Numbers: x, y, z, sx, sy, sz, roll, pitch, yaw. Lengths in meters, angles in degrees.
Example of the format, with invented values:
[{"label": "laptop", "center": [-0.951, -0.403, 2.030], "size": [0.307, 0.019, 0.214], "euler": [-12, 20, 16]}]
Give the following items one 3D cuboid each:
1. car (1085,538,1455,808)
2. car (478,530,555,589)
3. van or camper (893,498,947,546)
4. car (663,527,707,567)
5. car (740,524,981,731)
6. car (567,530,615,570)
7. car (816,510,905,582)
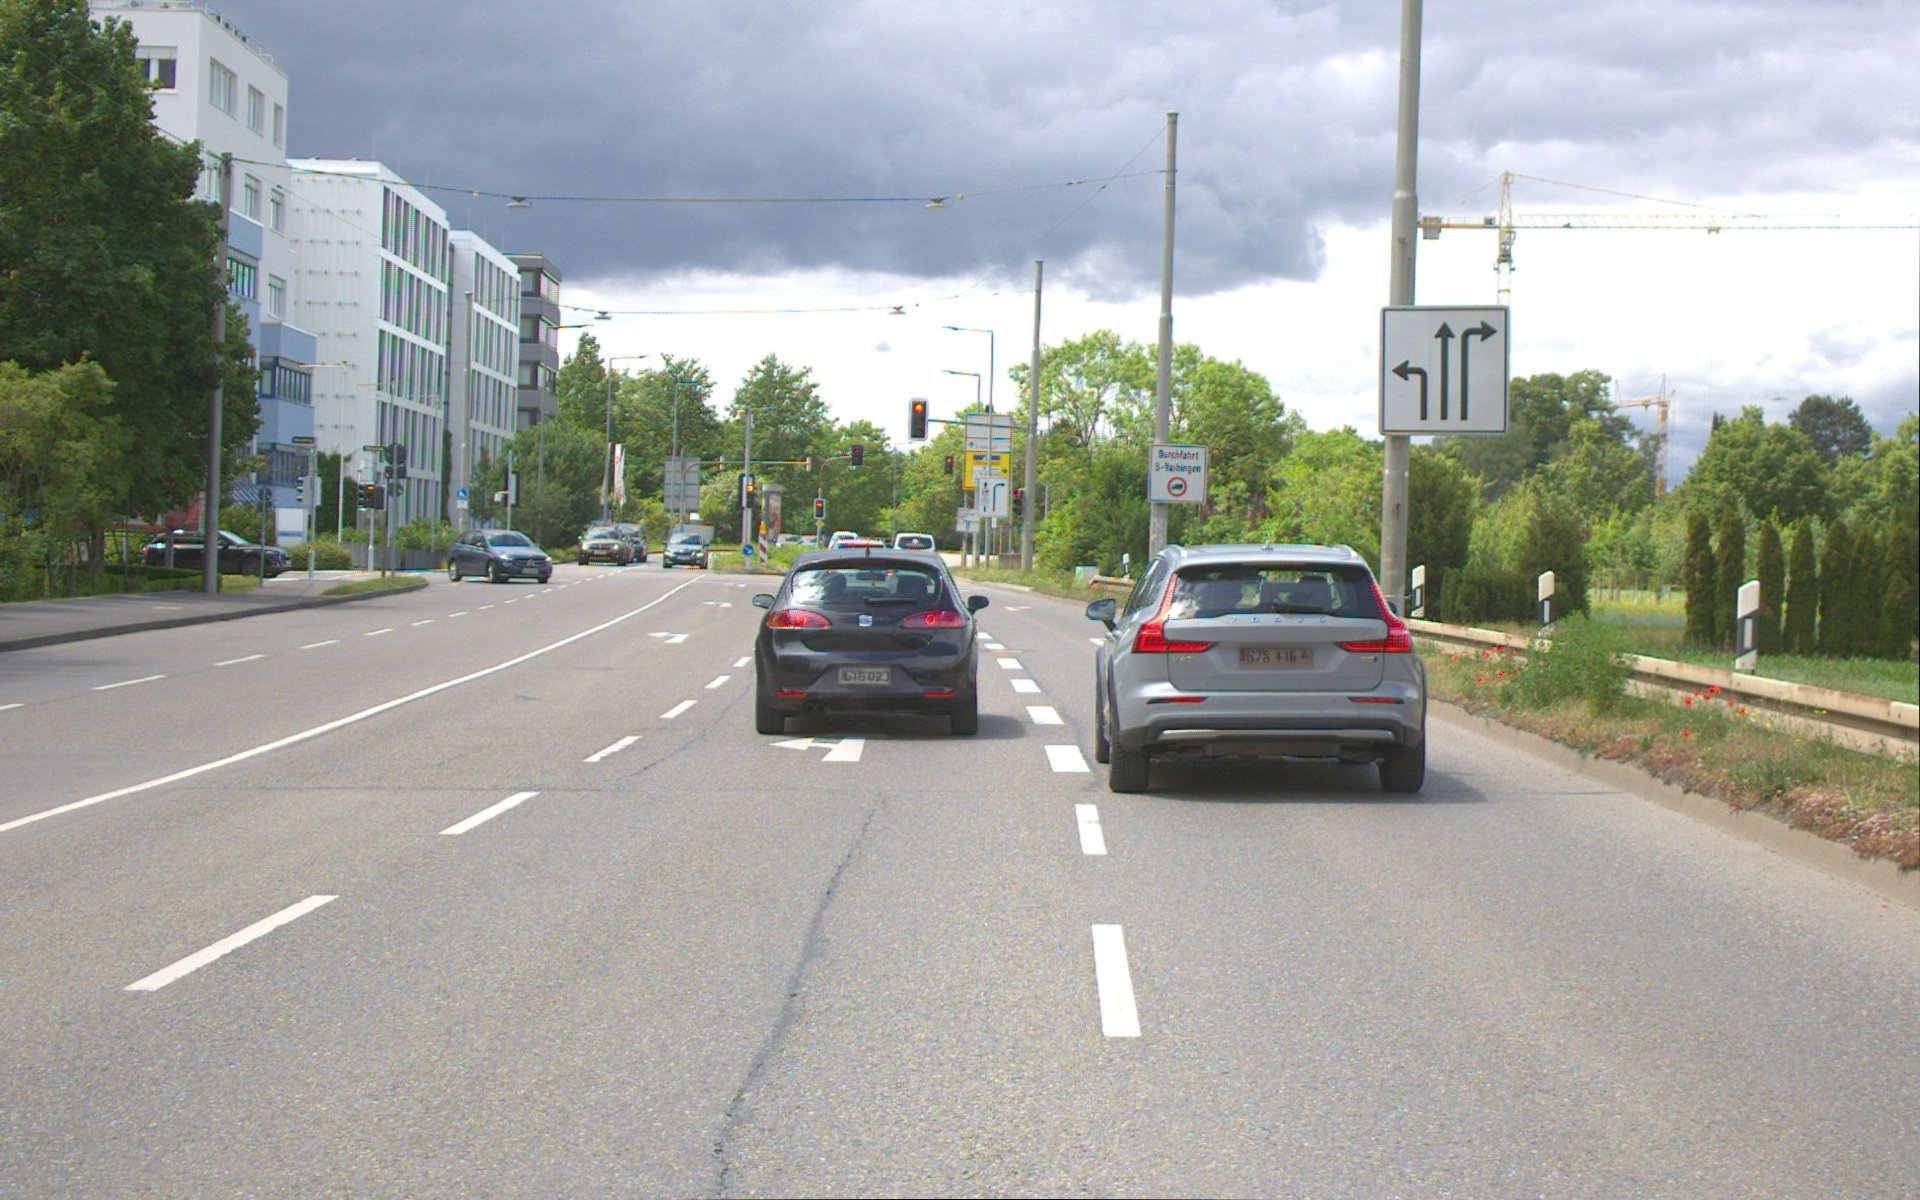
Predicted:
[{"label": "car", "center": [1.828, 0.389, 21.572], "size": [1.958, 1.520, 4.340], "euler": [0, 1, 0]}, {"label": "car", "center": [-13.058, -1.193, 101.372], "size": [1.796, 1.579, 4.314], "euler": [4, 0, -3]}, {"label": "van or camper", "center": [-1.777, -3.415, 151.161], "size": [1.899, 1.919, 4.001], "euler": [4, 0, -6]}, {"label": "car", "center": [-11.111, -2.160, 139.006], "size": [1.668, 1.519, 4.009], "euler": [0, 2, -3]}, {"label": "car", "center": [-0.735, 0.184, 27.844], "size": [1.748, 1.478, 4.000], "euler": [2, 1, 0]}, {"label": "car", "center": [-15.072, -2.058, 140.485], "size": [1.751, 1.625, 4.001], "euler": [0, 1, -3]}, {"label": "car", "center": [-2.454, -1.330, 84.003], "size": [1.983, 1.584, 4.227], "euler": [2, 2, -4]}]
